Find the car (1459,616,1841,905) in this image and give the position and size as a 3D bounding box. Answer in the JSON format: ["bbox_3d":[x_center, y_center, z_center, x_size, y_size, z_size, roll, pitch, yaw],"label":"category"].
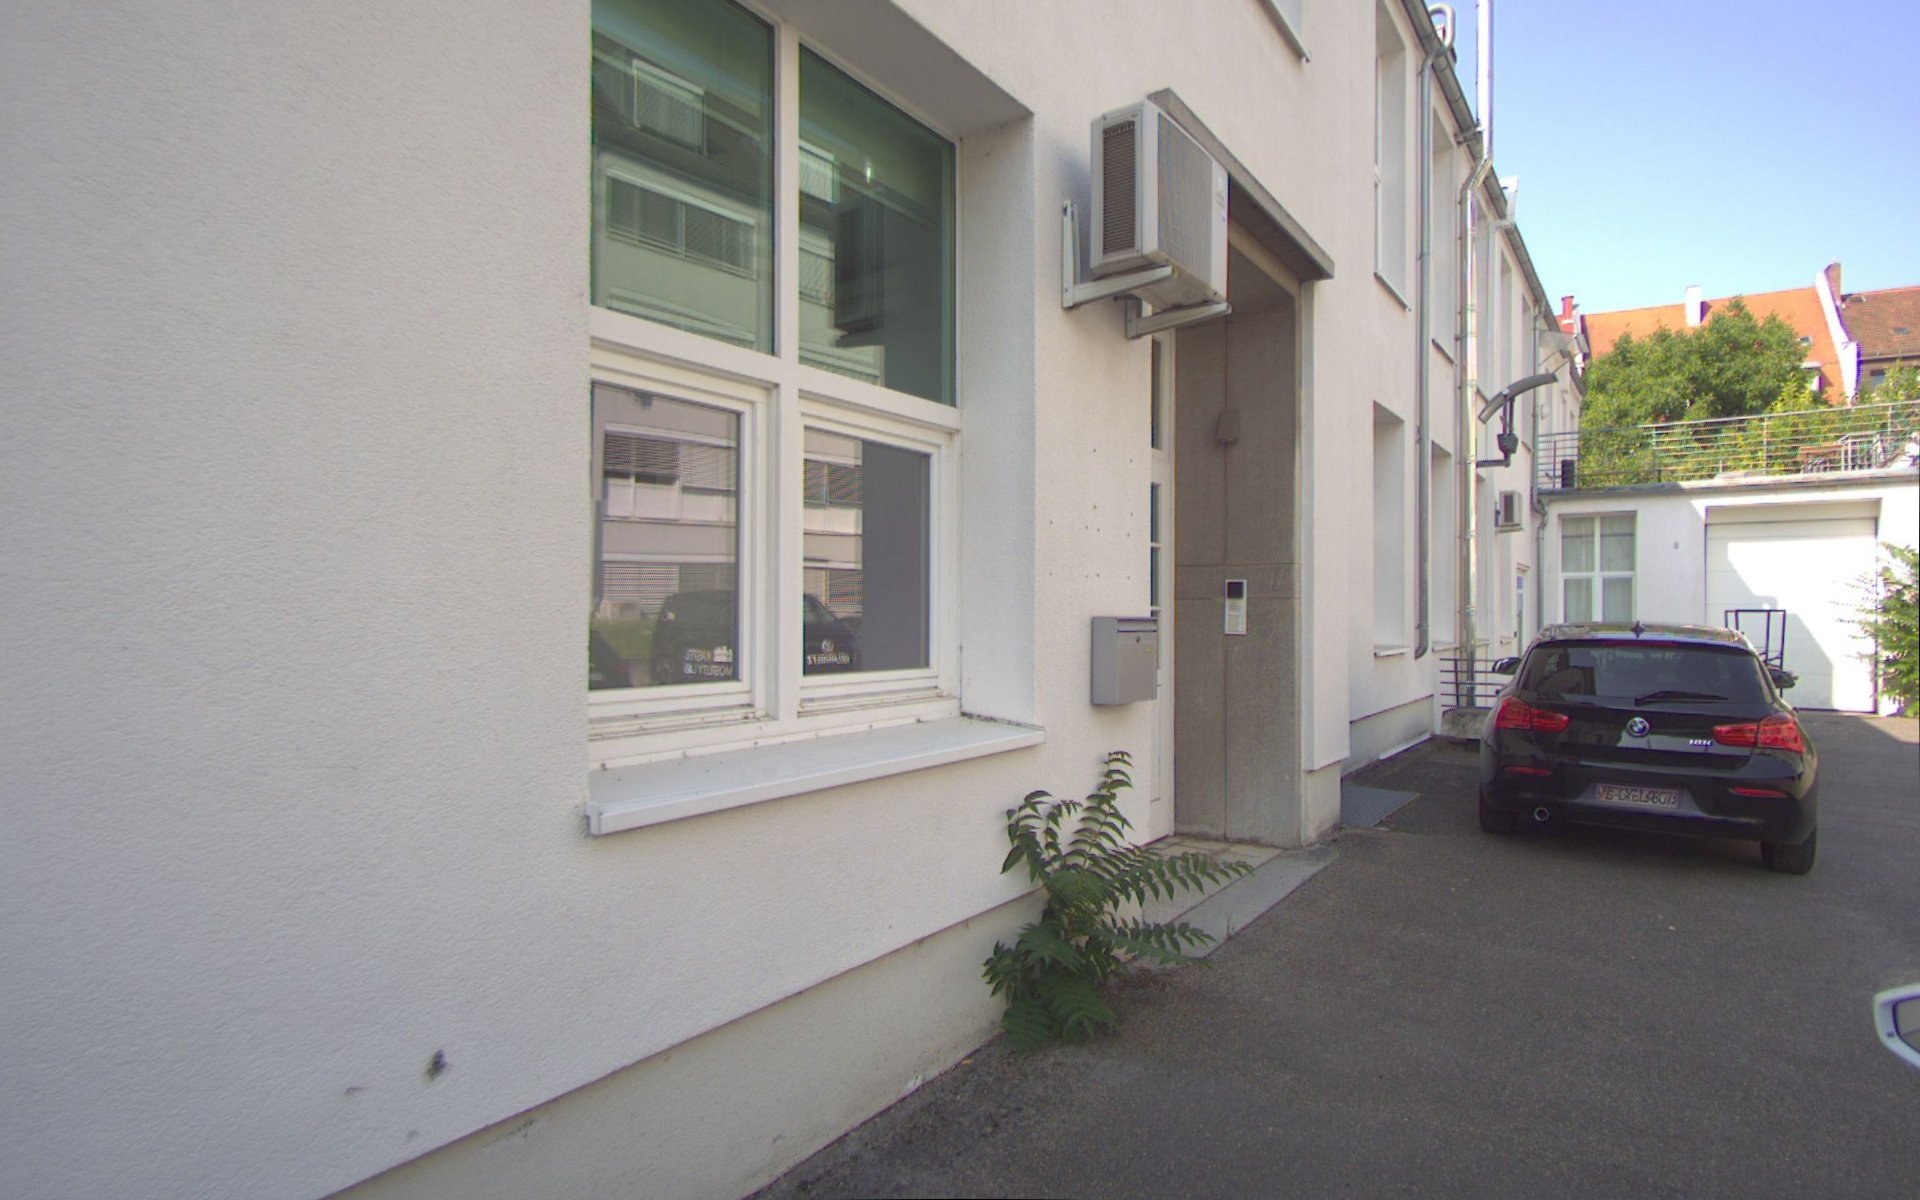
[{"bbox_3d":[4.929,0.869,7.418,1.768,1.447,4.125,1,0,33],"label":"car"}]
